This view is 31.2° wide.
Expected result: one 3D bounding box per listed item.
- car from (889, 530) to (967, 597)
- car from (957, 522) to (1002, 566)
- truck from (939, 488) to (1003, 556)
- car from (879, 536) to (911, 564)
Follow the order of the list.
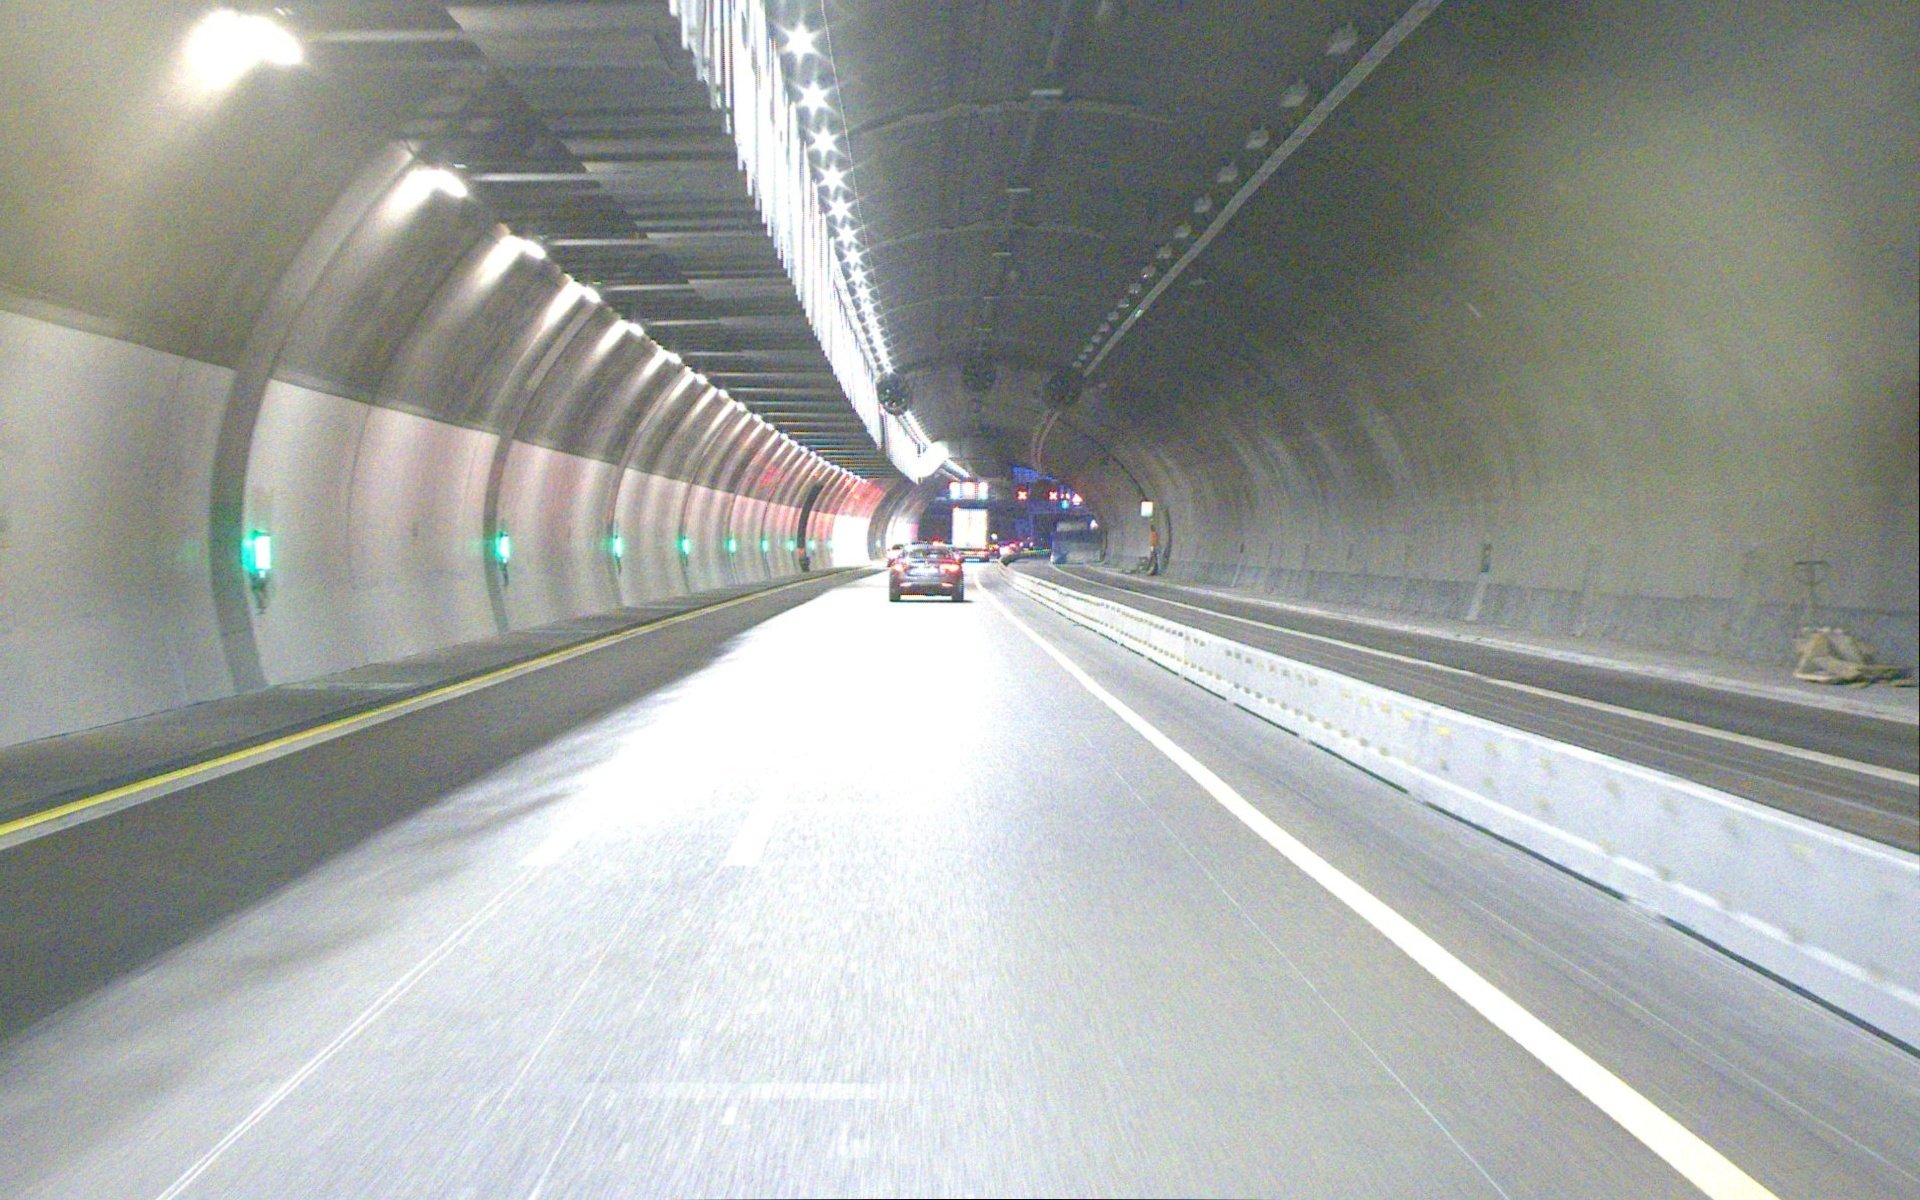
[{"bbox_3d":[-0.838,-0.920,86.955,1.887,1.601,4.000,1,1,-1],"label":"car"},{"bbox_3d":[0.885,-2.628,159.792,1.993,2.007,4.000,0,1,0],"label":"car"},{"bbox_3d":[0.870,-5.925,262.099,4.546,4.970,9.599,1,1,1],"label":"truck"},{"bbox_3d":[-3.870,-2.963,204.493,1.827,1.601,4.000,1,1,-1],"label":"car"}]
